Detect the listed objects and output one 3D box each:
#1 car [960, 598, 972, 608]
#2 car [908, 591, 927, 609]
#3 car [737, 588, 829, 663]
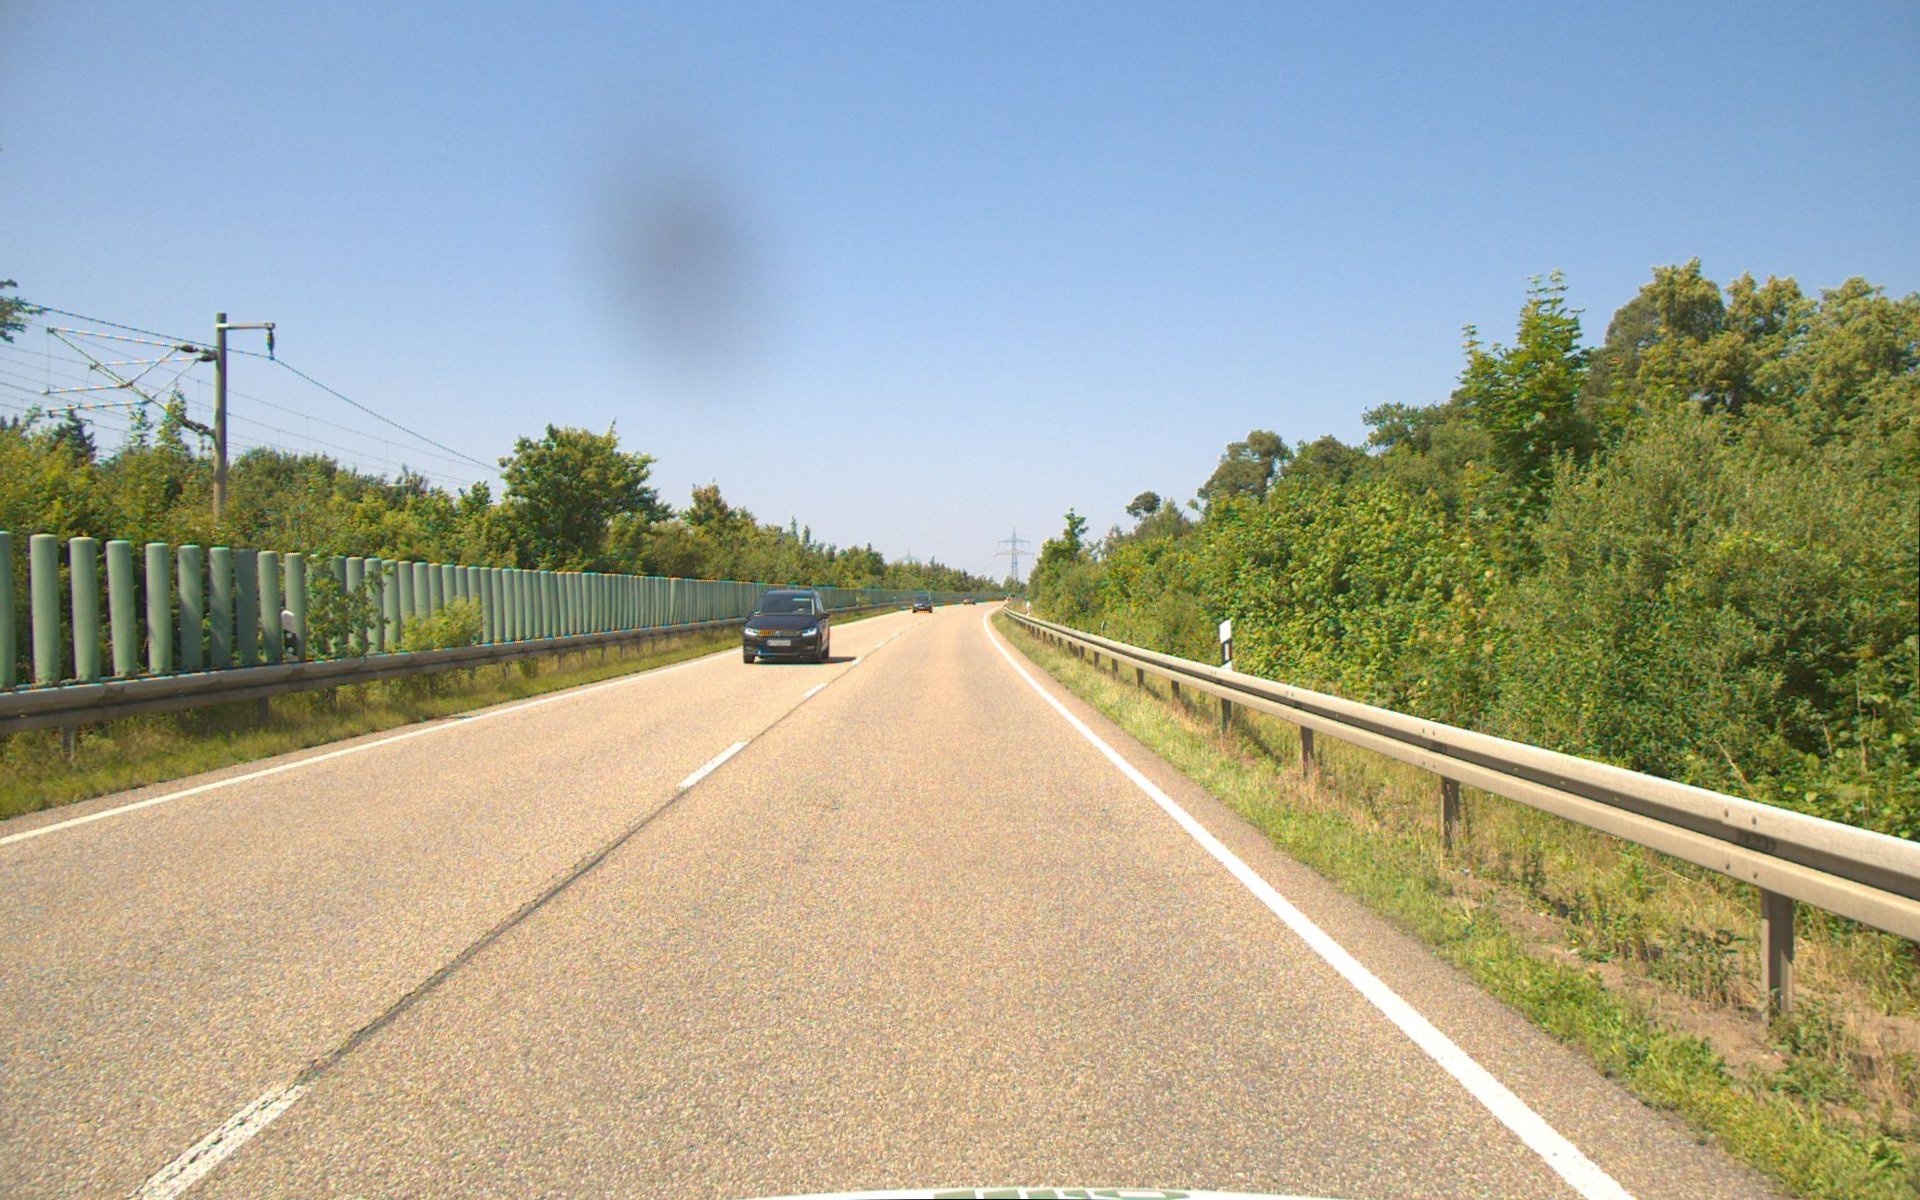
[{"bbox_3d":[0.994,0.479,255.707,1.749,1.395,3.898,0,1,2],"label":"car"},{"bbox_3d":[-3.638,-0.018,142.856,1.615,1.505,3.676,0,0,-1],"label":"car"},{"bbox_3d":[-4.111,0.583,38.970,1.728,1.669,4.126,0,0,0],"label":"car"}]
